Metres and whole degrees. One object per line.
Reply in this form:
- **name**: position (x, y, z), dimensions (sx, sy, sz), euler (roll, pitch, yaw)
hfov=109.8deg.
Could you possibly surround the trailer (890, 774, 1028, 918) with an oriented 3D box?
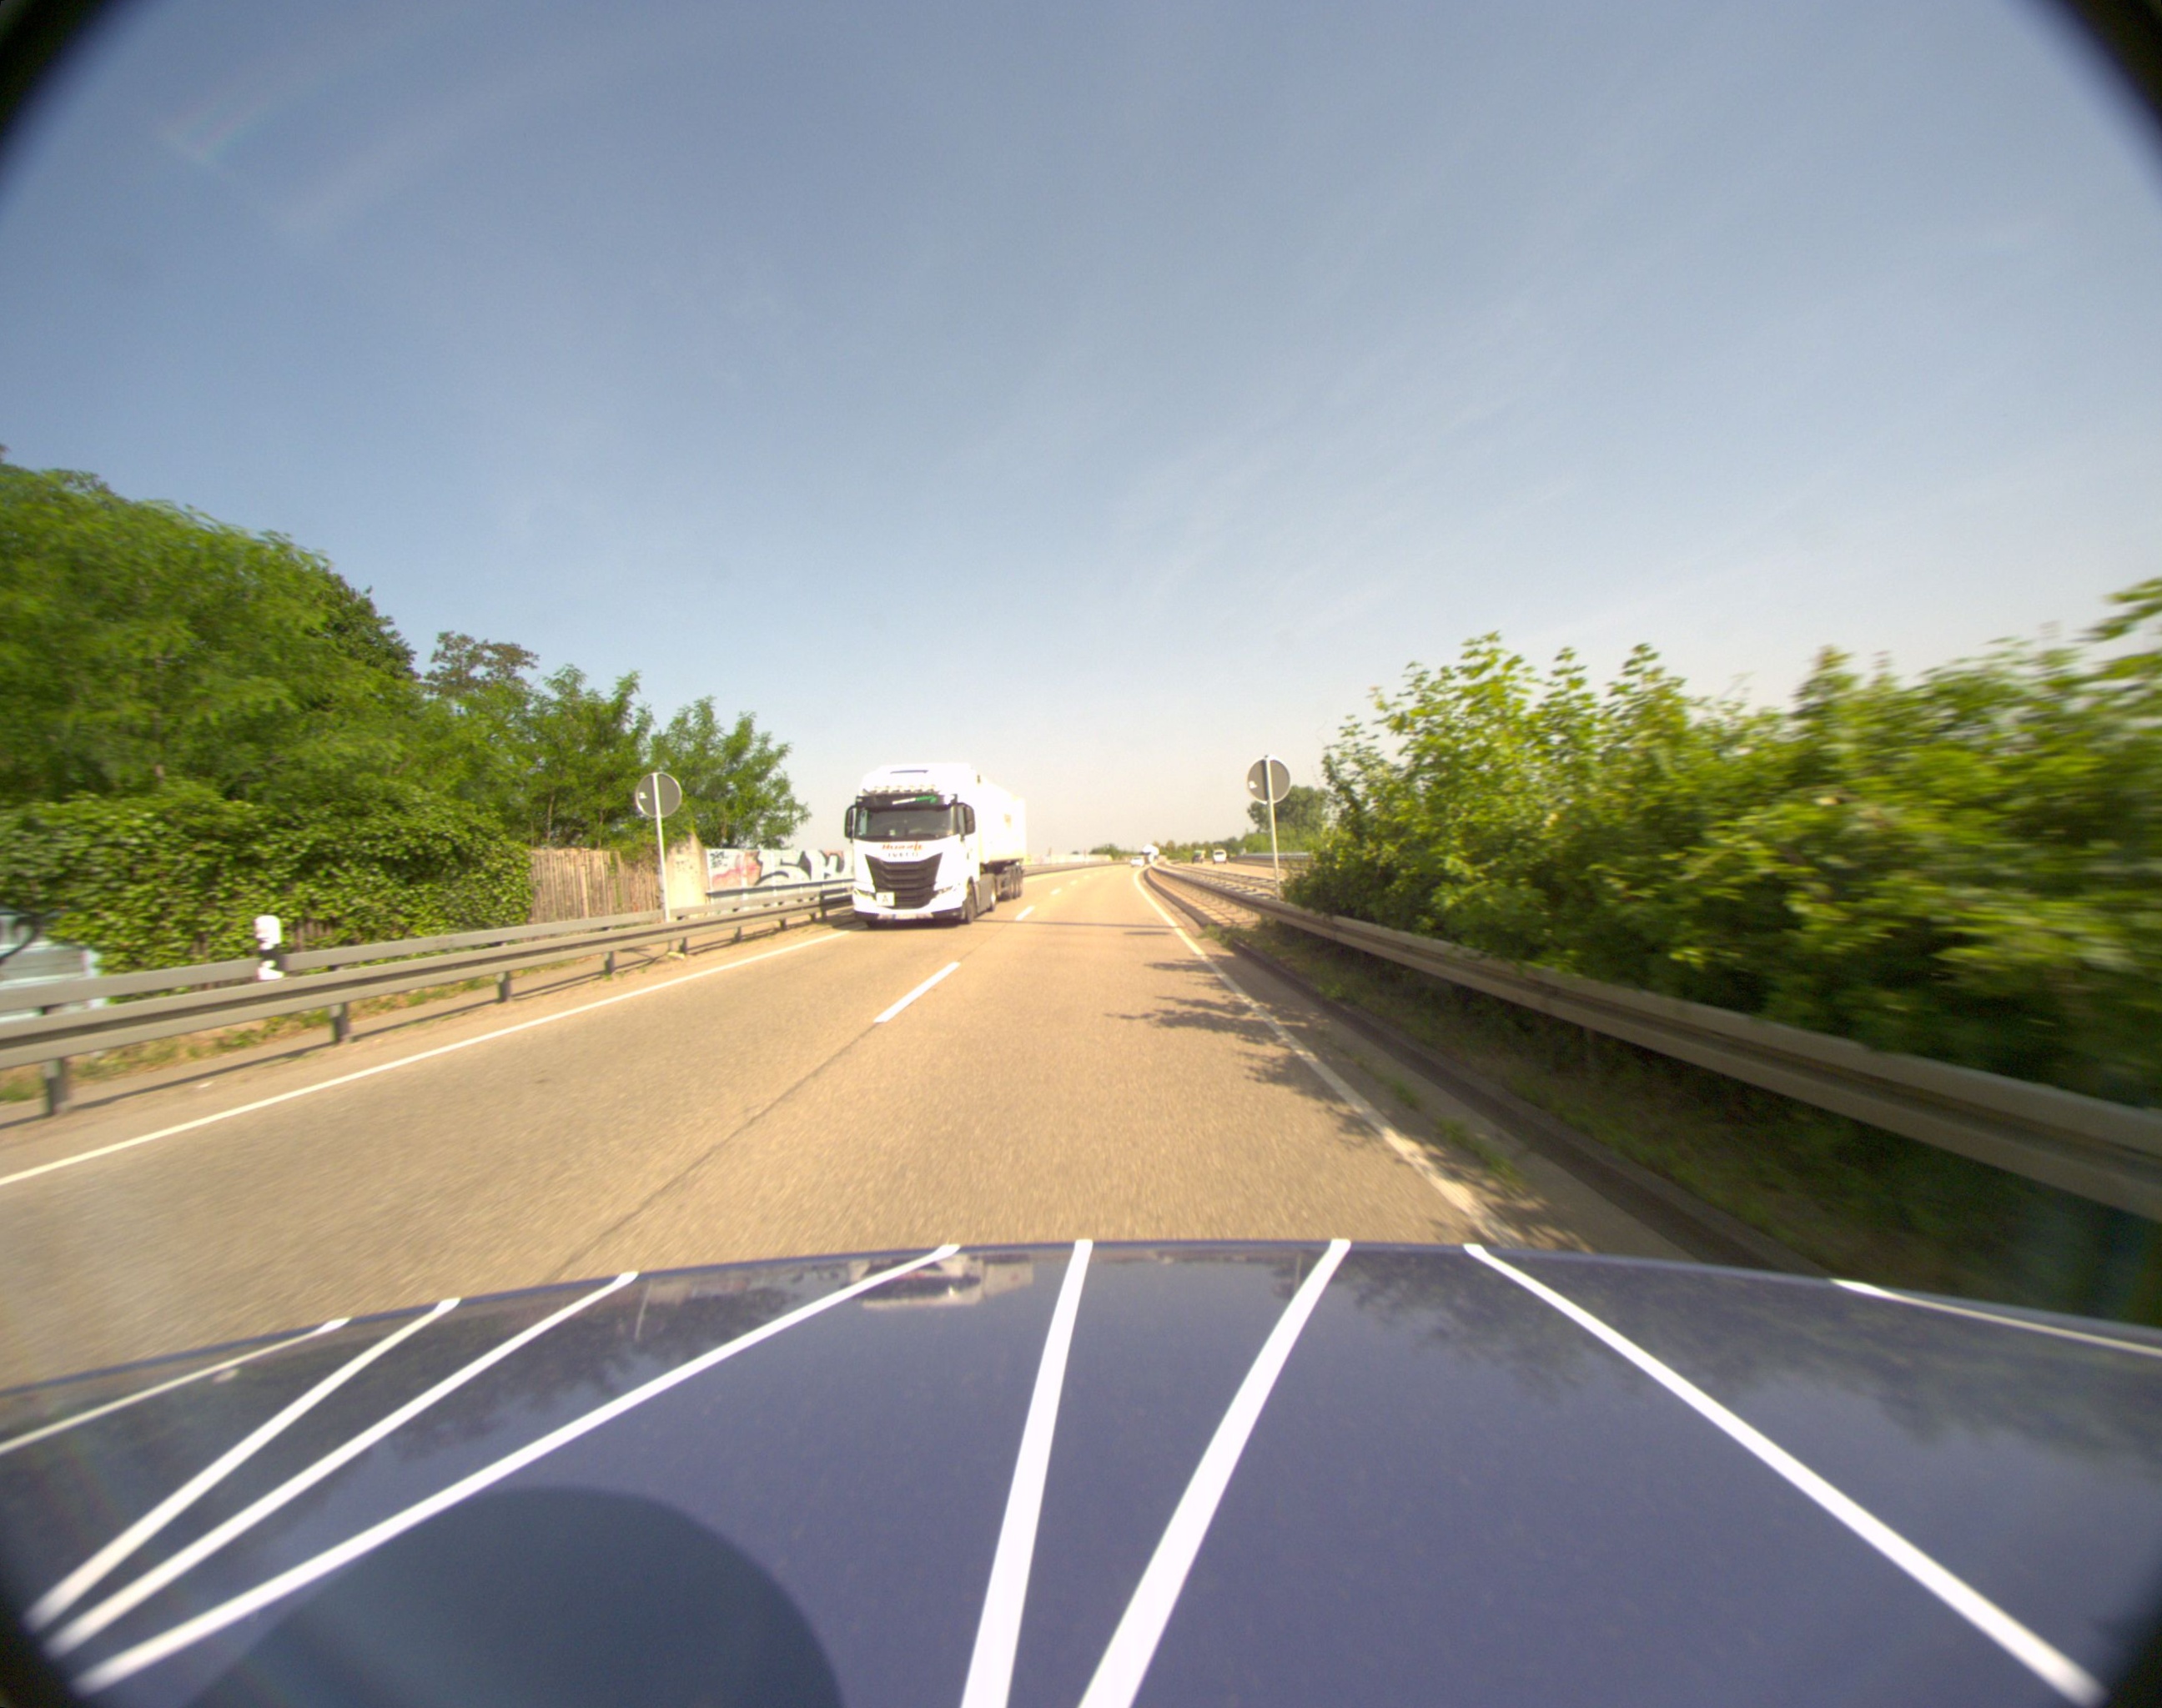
- **trailer**: position (-3.696, -0.255, 25.792), dimensions (2.686, 3.884, 9.673), euler (-2, 0, 2)

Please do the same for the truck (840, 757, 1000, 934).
- **truck**: position (-3.913, -0.192, 19.828), dimensions (2.665, 3.873, 5.648), euler (-2, 0, 2)

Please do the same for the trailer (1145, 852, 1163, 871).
- **trailer**: position (16.336, 1.658, 169.548), dimensions (2.761, 3.968, 8.195), euler (-2, 0, 14)

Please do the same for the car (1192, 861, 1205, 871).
- **car**: position (21.924, 2.200, 141.648), dimensions (1.868, 1.598, 4.422), euler (-3, 0, 12)

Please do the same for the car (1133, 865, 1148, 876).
- **car**: position (8.352, 2.259, 106.334), dimensions (1.788, 1.427, 4.003), euler (-3, 0, 10)

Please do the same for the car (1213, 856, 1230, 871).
- **car**: position (20.469, 1.355, 111.055), dimensions (2.042, 1.994, 5.310), euler (-3, 0, 7)

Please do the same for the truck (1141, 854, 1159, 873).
- **truck**: position (14.921, 2.060, 164.112), dimensions (2.776, 3.938, 5.633), euler (-2, 0, 14)
